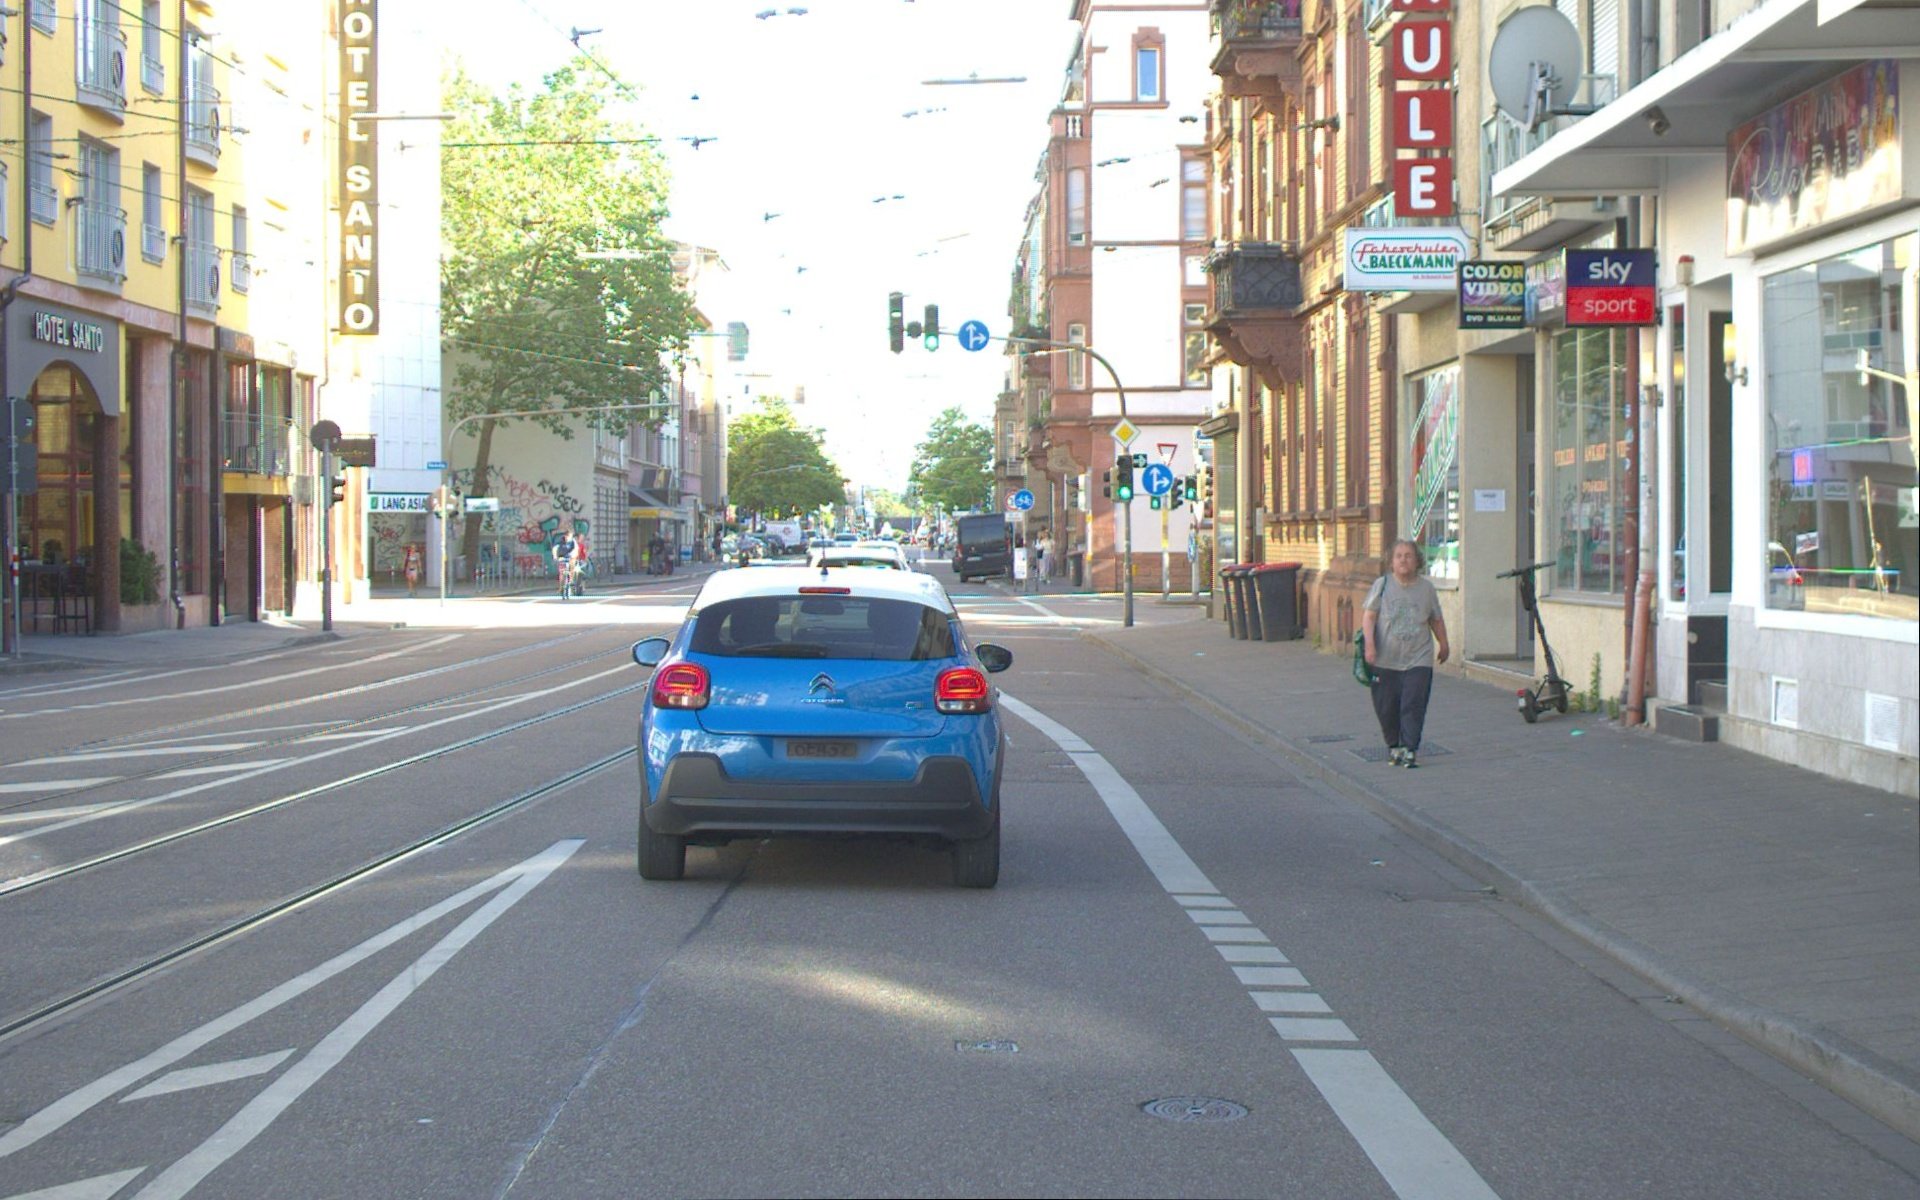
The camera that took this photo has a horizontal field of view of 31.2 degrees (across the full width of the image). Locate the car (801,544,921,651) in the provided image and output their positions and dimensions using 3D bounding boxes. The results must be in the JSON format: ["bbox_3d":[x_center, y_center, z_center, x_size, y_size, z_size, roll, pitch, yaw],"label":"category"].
[{"bbox_3d":[-1.458,-0.071,50.444,1.667,1.473,4.001,-1,1,-2],"label":"car"}]

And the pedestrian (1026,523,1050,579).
[{"bbox_3d":[2.507,-1.580,110.666,0.705,1.776,0.673,0,1,-2],"label":"pedestrian"}]

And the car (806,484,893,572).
[{"bbox_3d":[-2.610,-1.699,81.304,1.993,2.007,4.001,-1,1,-2],"label":"car"}]

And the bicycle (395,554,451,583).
[{"bbox_3d":[-19.148,-1.132,122.533,1.918,1.031,0.664,0,1,25],"label":"bicycle"}]

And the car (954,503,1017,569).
[{"bbox_3d":[0.936,-2.432,130.418,2.271,2.428,5.720,0,1,-1],"label":"car"}]

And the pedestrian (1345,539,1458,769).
[{"bbox_3d":[3.026,0.359,23.593,0.648,1.555,0.781,0,1,-2],"label":"pedestrian"}]

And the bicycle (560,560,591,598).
[{"bbox_3d":[-10.946,-0.612,98.005,0.730,1.062,2.062,0,1,-2],"label":"bicycle"}]

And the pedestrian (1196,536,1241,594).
[{"bbox_3d":[6.569,-0.894,87.453,0.938,1.452,0.823,0,1,-13],"label":"pedestrian"}]

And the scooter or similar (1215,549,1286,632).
[{"bbox_3d":[4.267,-0.146,50.492,0.897,1.144,0.547,-4,1,-2],"label":"scooter or similar"}]

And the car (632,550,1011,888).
[{"bbox_3d":[-0.693,0.505,17.419,1.674,1.472,4.001,1,1,-2],"label":"car"}]

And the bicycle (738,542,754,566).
[{"bbox_3d":[-9.960,-2.139,160.289,0.692,1.116,2.084,0,1,-2],"label":"bicycle"}]

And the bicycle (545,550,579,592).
[{"bbox_3d":[-10.429,-0.760,90.149,0.730,1.084,2.062,0,1,-2],"label":"bicycle"}]

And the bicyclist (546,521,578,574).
[{"bbox_3d":[-10.422,-1.379,90.065,0.724,1.376,1.228,1,2,-2],"label":"bicyclist"}]

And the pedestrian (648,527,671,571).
[{"bbox_3d":[-12.196,-2.061,139.340,0.682,1.759,1.025,0,1,10],"label":"pedestrian"}]

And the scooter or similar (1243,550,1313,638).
[{"bbox_3d":[4.419,-0.087,47.851,0.790,1.144,0.790,-4,1,-2],"label":"scooter or similar"}]

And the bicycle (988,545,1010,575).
[{"bbox_3d":[1.251,-1.291,110.268,0.431,0.944,1.764,0,1,-8],"label":"bicycle"}]

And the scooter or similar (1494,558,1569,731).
[{"bbox_3d":[4.395,0.329,26.403,0.410,1.277,1.283,-1,1,15],"label":"scooter or similar"}]

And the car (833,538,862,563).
[{"bbox_3d":[-7.764,-3.413,236.524,1.993,1.738,4.563,0,1,-2],"label":"car"}]

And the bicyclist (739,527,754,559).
[{"bbox_3d":[-9.959,-2.666,160.271,0.682,1.478,0.778,0,1,-2],"label":"bicyclist"}]

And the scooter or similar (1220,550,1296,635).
[{"bbox_3d":[4.283,-0.111,49.482,0.933,1.144,0.650,-4,1,-2],"label":"scooter or similar"}]

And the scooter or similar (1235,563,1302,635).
[{"bbox_3d":[4.372,-0.017,48.743,0.790,0.954,0.680,-4,1,-2],"label":"scooter or similar"}]
